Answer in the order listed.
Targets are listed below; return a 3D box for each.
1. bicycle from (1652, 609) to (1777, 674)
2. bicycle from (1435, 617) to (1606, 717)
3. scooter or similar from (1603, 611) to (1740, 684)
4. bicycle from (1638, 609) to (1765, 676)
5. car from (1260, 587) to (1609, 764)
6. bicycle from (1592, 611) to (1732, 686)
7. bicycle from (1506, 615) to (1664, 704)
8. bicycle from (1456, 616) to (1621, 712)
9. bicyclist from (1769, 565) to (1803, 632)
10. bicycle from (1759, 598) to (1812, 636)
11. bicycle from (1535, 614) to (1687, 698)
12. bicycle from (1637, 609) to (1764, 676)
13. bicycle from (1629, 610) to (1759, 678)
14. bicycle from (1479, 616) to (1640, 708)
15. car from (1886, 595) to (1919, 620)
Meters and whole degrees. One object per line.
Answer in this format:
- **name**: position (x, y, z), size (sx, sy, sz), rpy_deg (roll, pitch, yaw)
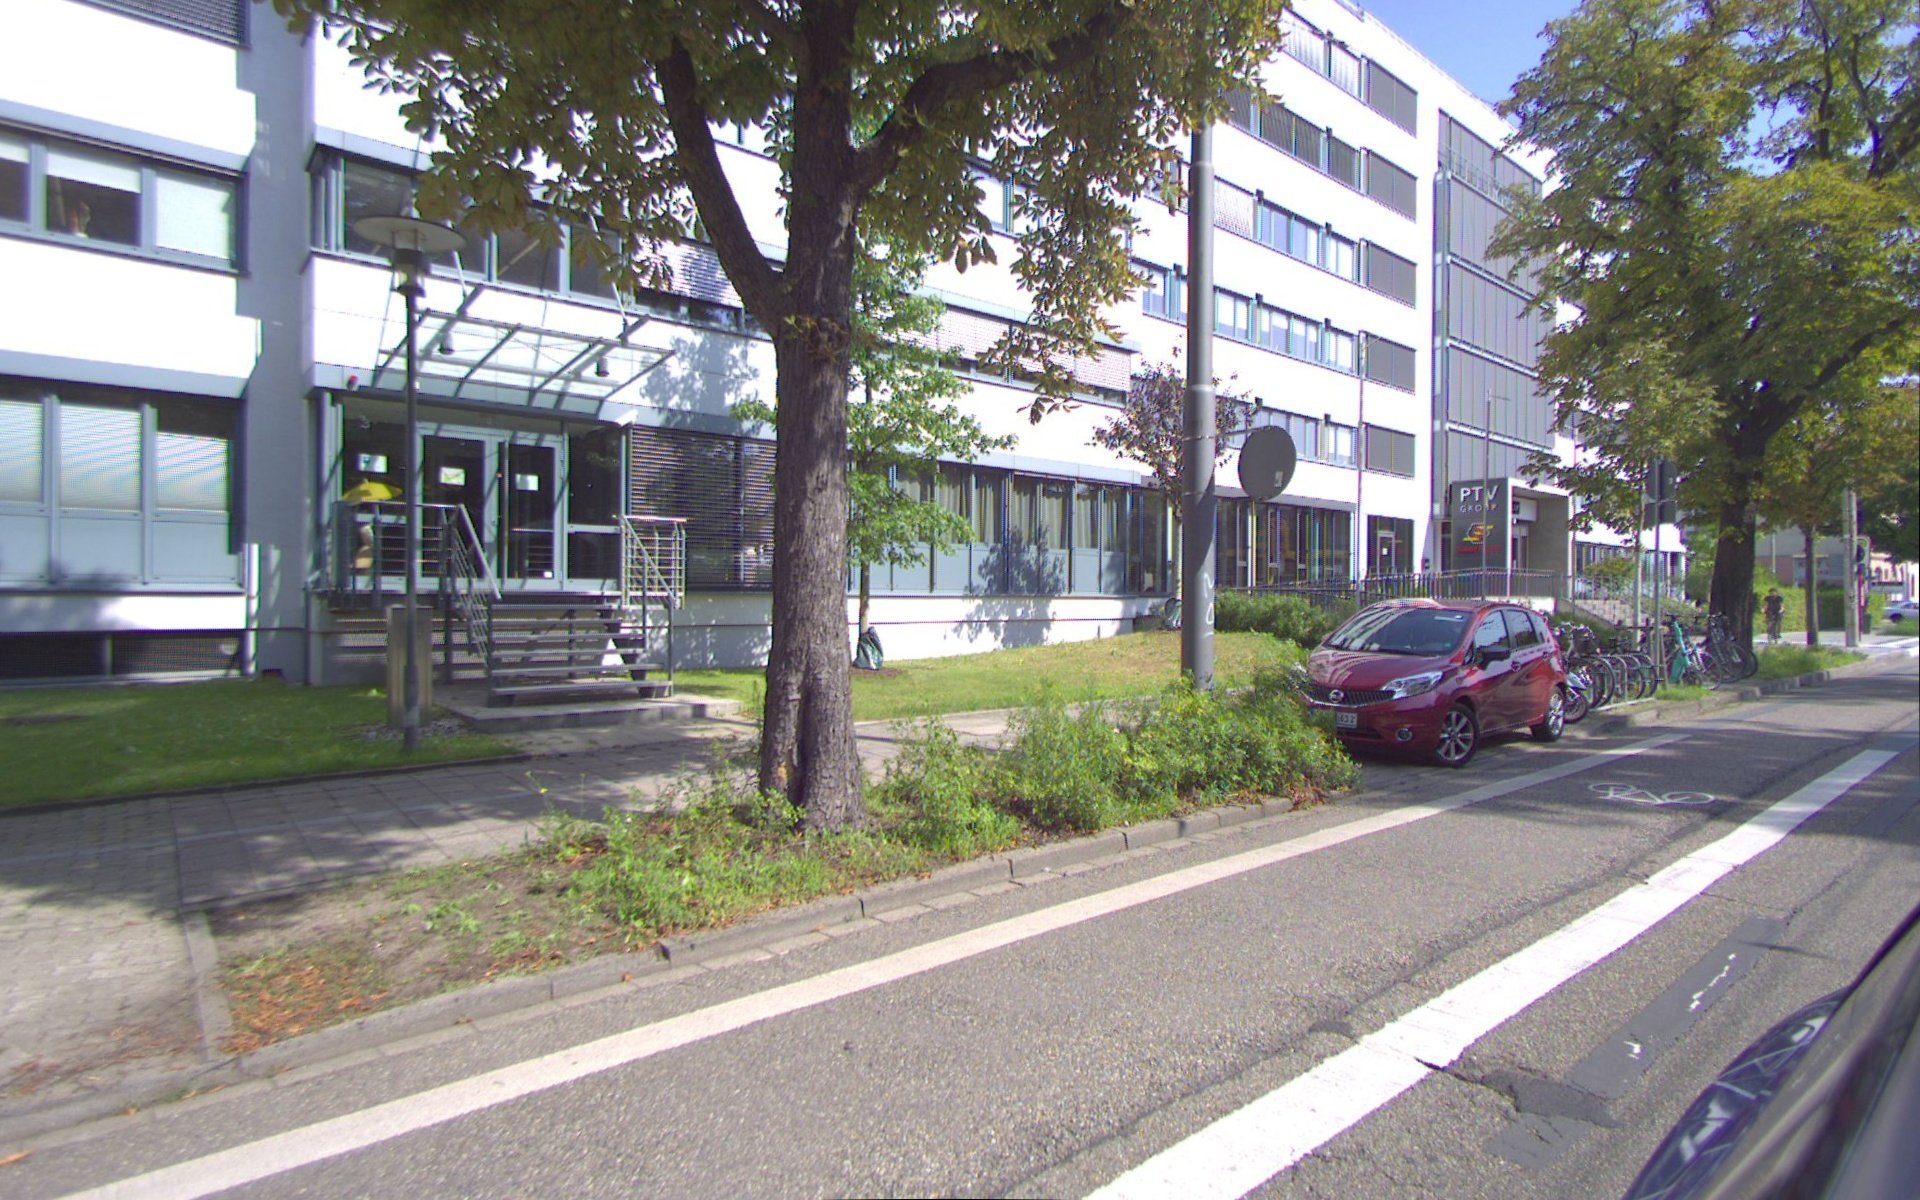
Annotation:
- **bicycle**: position (13.940, 0.737, 18.735), size (0.531, 1.085, 1.774), rpy_deg (0, 1, -41)
- **bicycle**: position (6.944, 0.798, 12.611), size (0.531, 1.085, 1.774), rpy_deg (0, 1, -41)
- **scooter or similar**: position (11.787, 0.756, 16.823), size (0.531, 1.085, 1.774), rpy_deg (0, 1, -41)
- **bicycle**: position (13.392, 0.741, 18.325), size (0.531, 1.085, 1.774), rpy_deg (0, 1, -41)
- **car**: position (5.119, 0.628, 10.665), size (4.199, 1.480, 1.759), rpy_deg (0, 1, -41)
- **bicycle**: position (11.363, 0.760, 16.430), size (0.531, 1.085, 1.774), rpy_deg (0, 1, -41)
- **bicycle**: position (8.636, 0.784, 14.048), size (0.531, 1.085, 1.774), rpy_deg (0, 1, -41)
- **bicycle**: position (7.481, 0.793, 13.156), size (0.531, 1.085, 1.774), rpy_deg (0, 1, -41)
- **bicyclist**: position (25.920, -0.058, 31.772), size (0.779, 2.039, 1.257), rpy_deg (0, 0, 37)
- **bicycle**: position (25.955, 0.505, 31.845), size (1.132, 1.139, 2.504), rpy_deg (0, 0, 36)
- **bicycle**: position (9.456, 0.777, 14.755), size (0.531, 1.085, 1.774), rpy_deg (0, 1, -41)
- **bicycle**: position (13.368, 0.742, 18.319), size (0.531, 1.085, 1.774), rpy_deg (0, 1, -41)
- **bicycle**: position (12.965, 0.745, 17.915), size (0.531, 1.085, 1.774), rpy_deg (0, 1, -41)
- **bicycle**: position (8.000, 0.789, 13.567), size (0.531, 1.085, 1.774), rpy_deg (0, 1, -41)
- **car**: position (60.273, 0.448, 62.472), size (1.929, 1.534, 4.541), rpy_deg (0, 0, -45)
